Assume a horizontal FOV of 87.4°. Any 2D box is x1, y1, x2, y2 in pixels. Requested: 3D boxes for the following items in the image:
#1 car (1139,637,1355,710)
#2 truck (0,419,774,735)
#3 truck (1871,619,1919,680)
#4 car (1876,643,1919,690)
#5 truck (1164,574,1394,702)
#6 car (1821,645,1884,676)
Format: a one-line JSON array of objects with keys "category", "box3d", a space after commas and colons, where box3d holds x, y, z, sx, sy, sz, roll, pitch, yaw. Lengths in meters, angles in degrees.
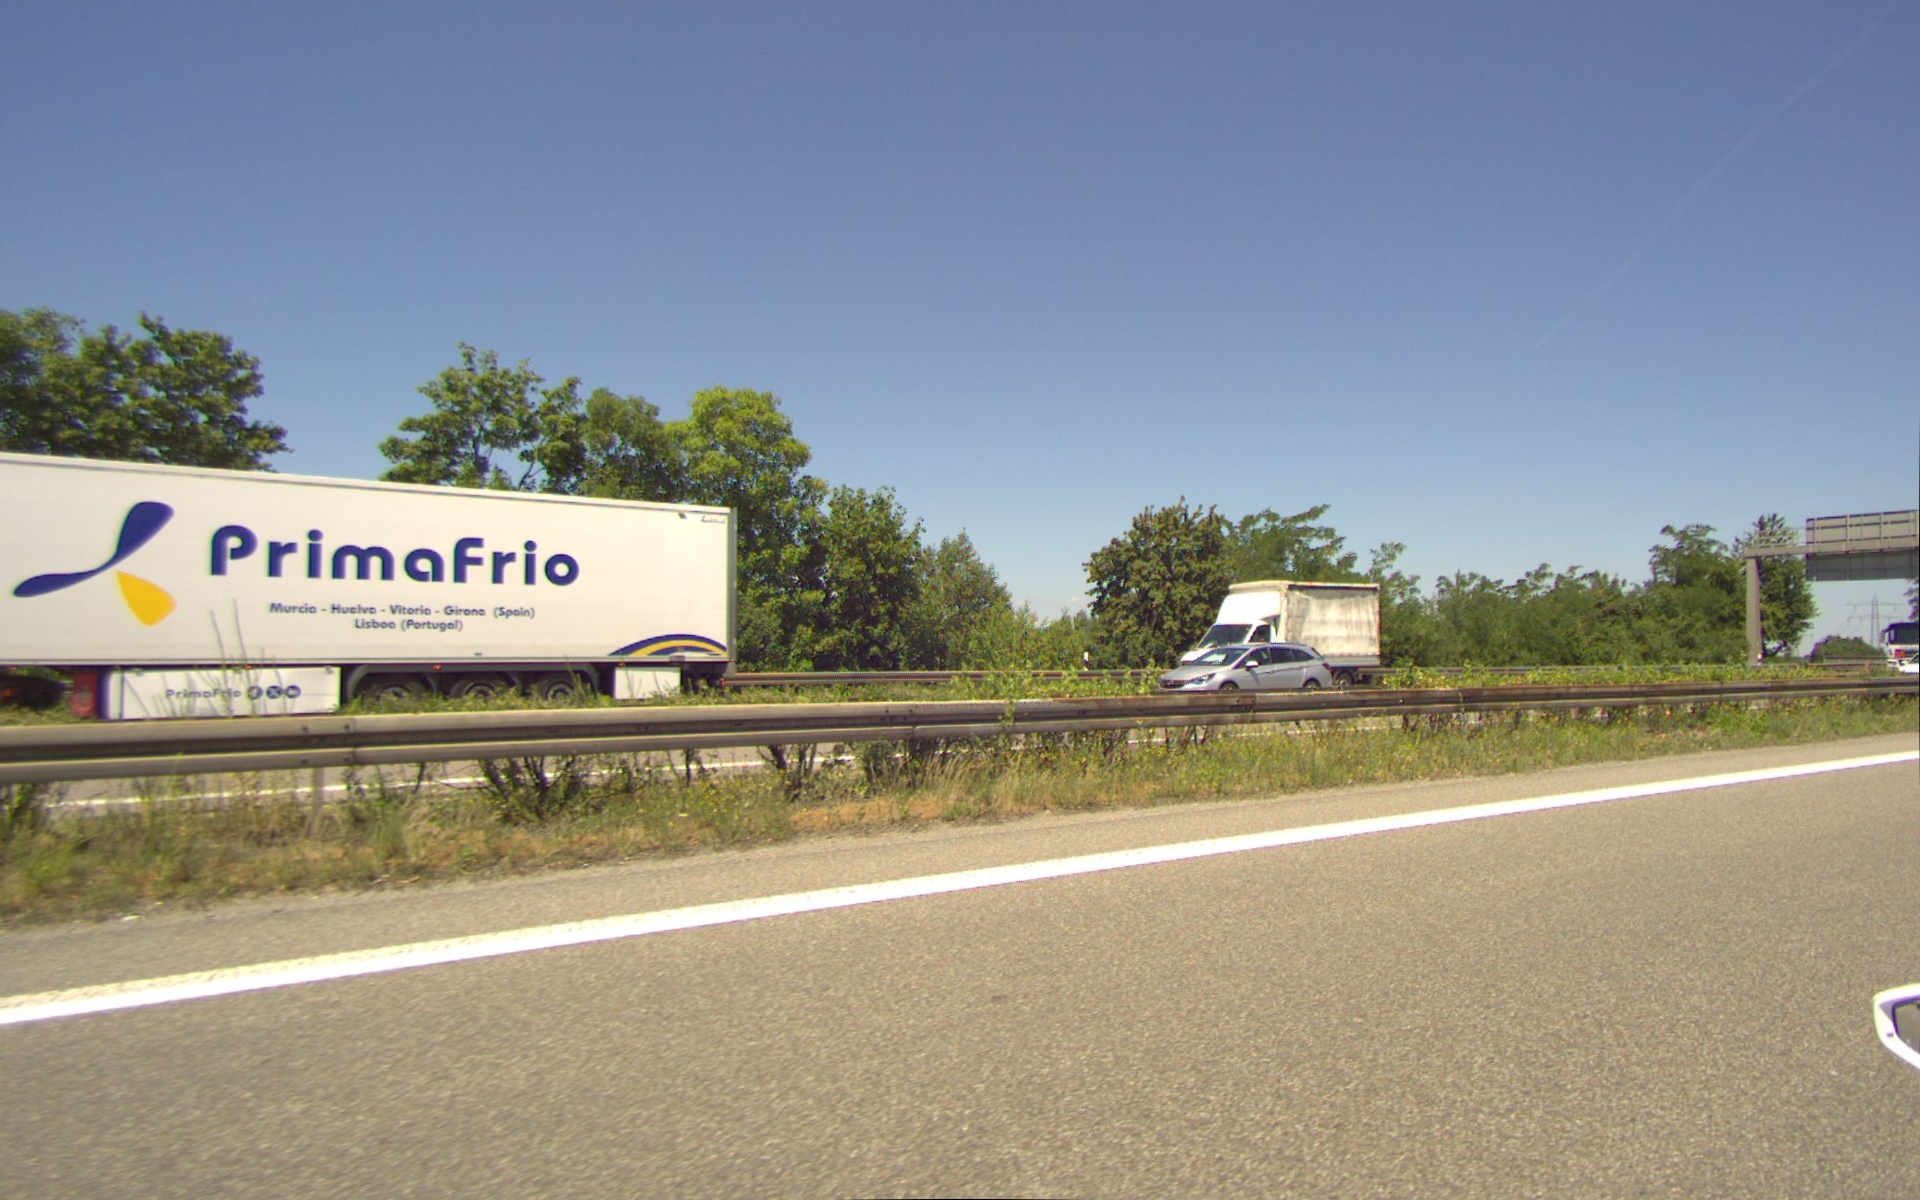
[{"category": "car", "box3d": [6.657, 1.643, 23.161, 4.887, 1.504, 1.984, 2, -2, -30]}, {"category": "truck", "box3d": [-11.769, -0.146, 16.943, 16.994, 4.433, 3.201, 2, -5, -31]}, {"category": "truck", "box3d": [53.951, 2.746, 55.643, 8.821, 3.250, 2.699, 2, -2, -31]}, {"category": "car", "box3d": [33.245, 2.261, 34.147, 4.193, 1.529, 1.984, 2, -2, -31]}, {"category": "truck", "box3d": [9.722, 1.158, 30.296, 7.336, 3.510, 2.358, 2, -2, -31]}, {"category": "car", "box3d": [54.482, 3.679, 61.303, 3.957, 1.839, 1.920, 2, -2, -33]}]
